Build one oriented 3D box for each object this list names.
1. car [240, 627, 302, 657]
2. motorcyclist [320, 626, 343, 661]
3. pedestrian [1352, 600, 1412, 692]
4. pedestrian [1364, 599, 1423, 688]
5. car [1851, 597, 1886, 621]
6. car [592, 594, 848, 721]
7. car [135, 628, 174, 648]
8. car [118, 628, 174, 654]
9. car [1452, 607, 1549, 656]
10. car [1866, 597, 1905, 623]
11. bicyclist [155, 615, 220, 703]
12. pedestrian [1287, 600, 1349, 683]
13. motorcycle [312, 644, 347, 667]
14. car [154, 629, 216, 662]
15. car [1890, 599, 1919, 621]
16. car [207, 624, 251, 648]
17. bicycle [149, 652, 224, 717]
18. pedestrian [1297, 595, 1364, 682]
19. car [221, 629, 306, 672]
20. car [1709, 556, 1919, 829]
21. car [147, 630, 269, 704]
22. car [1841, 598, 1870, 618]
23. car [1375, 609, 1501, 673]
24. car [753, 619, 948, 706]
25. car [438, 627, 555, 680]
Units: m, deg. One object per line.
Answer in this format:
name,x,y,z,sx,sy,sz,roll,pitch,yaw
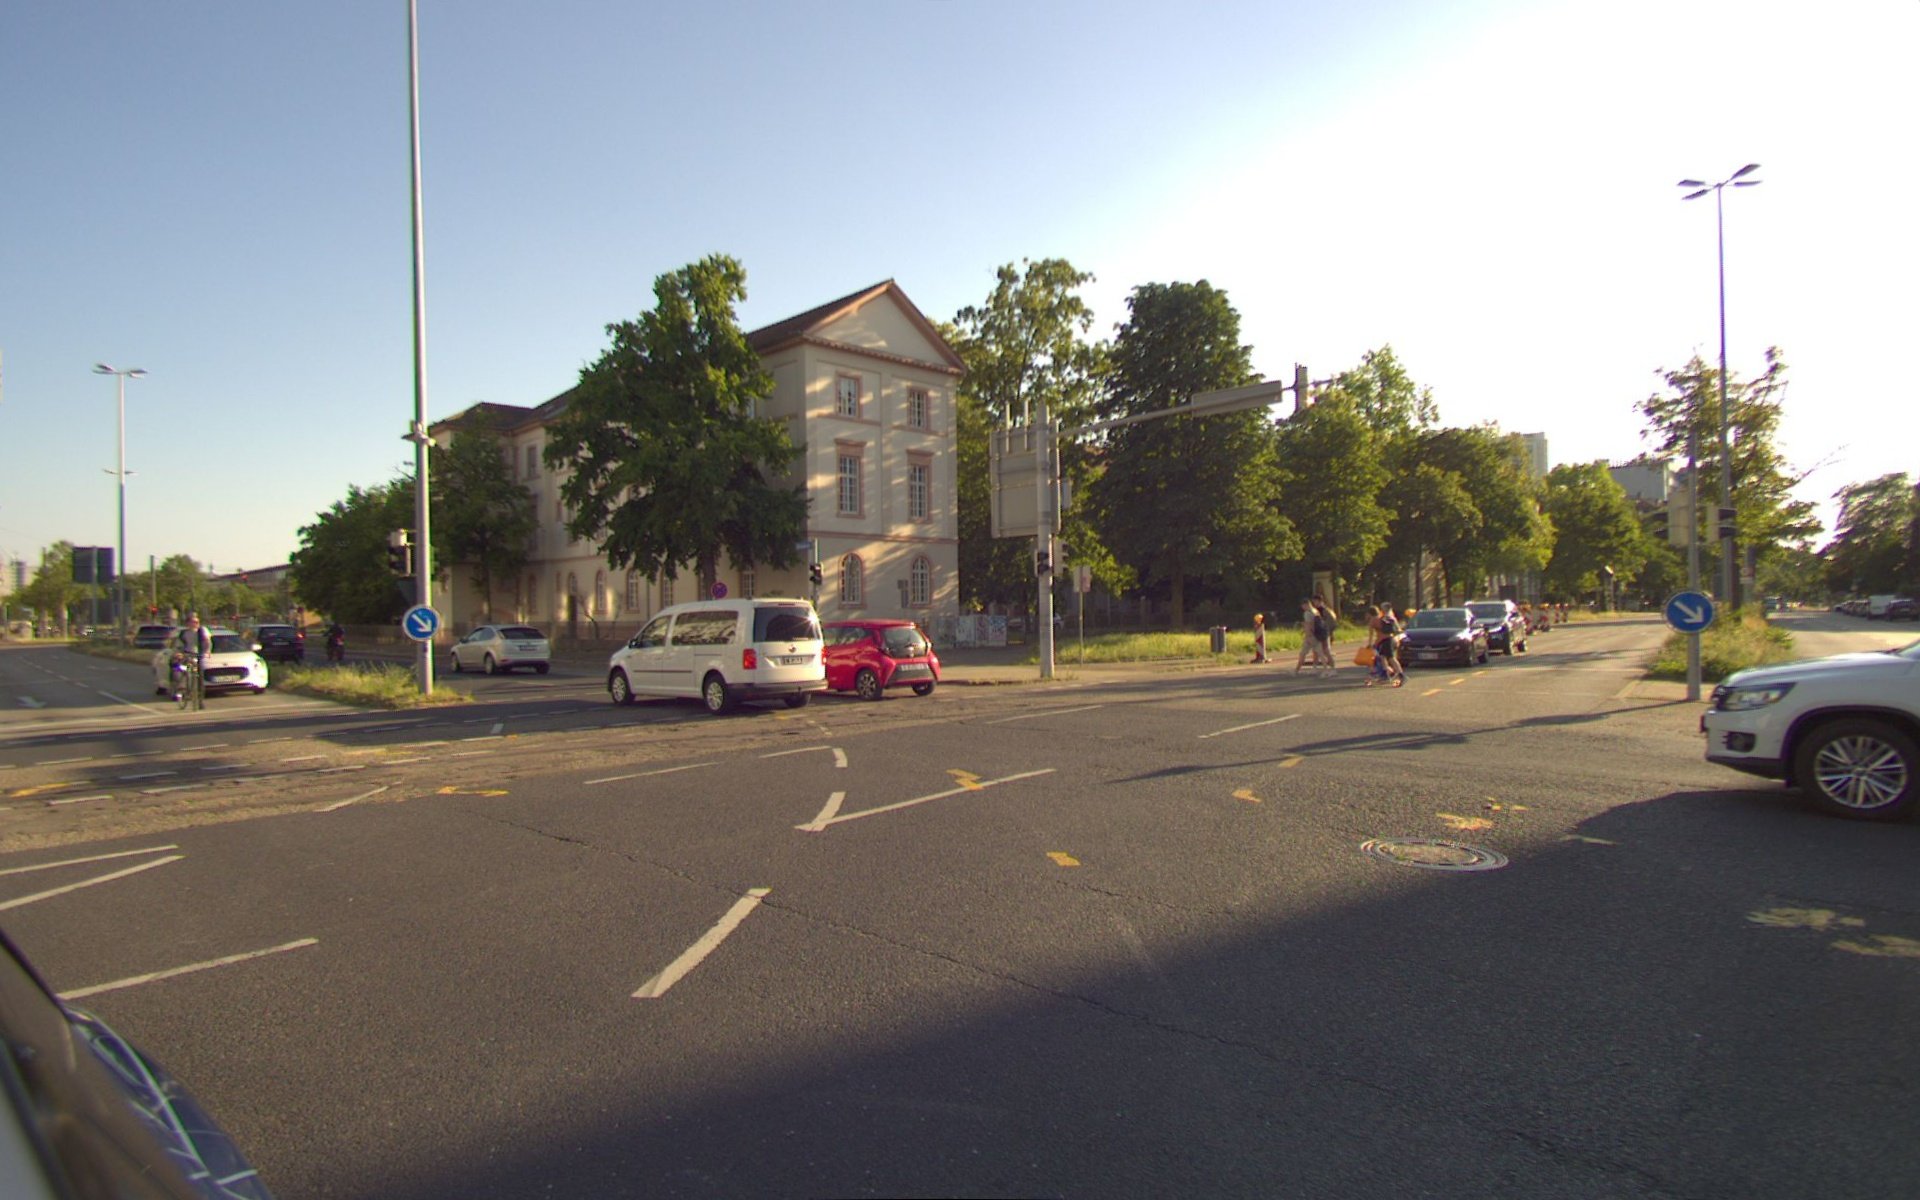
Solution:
car,-35.475,2.138,52.056,4.292,1.473,1.741,-2,-1,43
motorcyclist,-26.270,1.807,42.280,0.755,1.417,0.612,-2,-1,41
pedestrian,7.863,0.843,18.850,0.888,1.663,0.613,-2,-1,36
pedestrian,8.323,0.827,19.433,0.881,1.663,0.670,-2,-1,36
car,79.353,0.813,88.427,1.998,2.029,3.948,-2,-1,39
car,-4.222,0.897,17.246,4.946,1.861,1.808,-2,-1,43
car,-65.143,3.052,81.915,2.015,1.566,4.304,0,-1,-33
car,-48.352,2.429,60.122,4.292,1.473,2.020,-2,-1,43
car,17.283,0.966,32.320,1.999,1.457,3.598,-2,-1,40
car,73.109,0.797,79.999,1.998,2.029,3.948,-2,-1,39
bicyclist,-14.799,1.114,19.388,1.023,1.616,0.827,-2,-1,43
pedestrian,7.641,0.874,21.619,1.082,1.721,0.670,-2,-1,36
motorcycle,-26.431,2.311,42.409,2.160,0.886,0.632,-2,-1,41
car,-37.927,2.195,49.512,4.292,1.473,1.741,-2,-1,43
car,68.946,0.697,73.285,1.998,1.497,3.948,-2,-1,39
car,-52.225,2.578,72.254,4.292,1.648,1.741,-2,-1,43
bicycle,-14.842,1.588,19.398,2.081,1.116,0.822,-2,-1,43
pedestrian,8.152,0.829,22.267,1.168,1.863,0.811,-2,-1,36
car,-26.006,1.831,37.743,4.292,1.473,1.741,-2,-1,43
car,7.504,0.554,6.239,4.441,1.719,1.807,-2,-1,43
car,-17.403,1.481,23.362,3.710,1.510,1.740,-2,-1,45
car,91.957,0.824,103.995,1.998,2.029,3.948,-2,-1,39
car,12.125,0.997,25.565,1.999,1.457,3.598,-2,-1,40
car,-2.184,1.151,19.567,3.812,1.489,1.688,-2,-1,43
car,-14.191,1.582,30.888,4.292,1.473,1.741,-2,-1,43
